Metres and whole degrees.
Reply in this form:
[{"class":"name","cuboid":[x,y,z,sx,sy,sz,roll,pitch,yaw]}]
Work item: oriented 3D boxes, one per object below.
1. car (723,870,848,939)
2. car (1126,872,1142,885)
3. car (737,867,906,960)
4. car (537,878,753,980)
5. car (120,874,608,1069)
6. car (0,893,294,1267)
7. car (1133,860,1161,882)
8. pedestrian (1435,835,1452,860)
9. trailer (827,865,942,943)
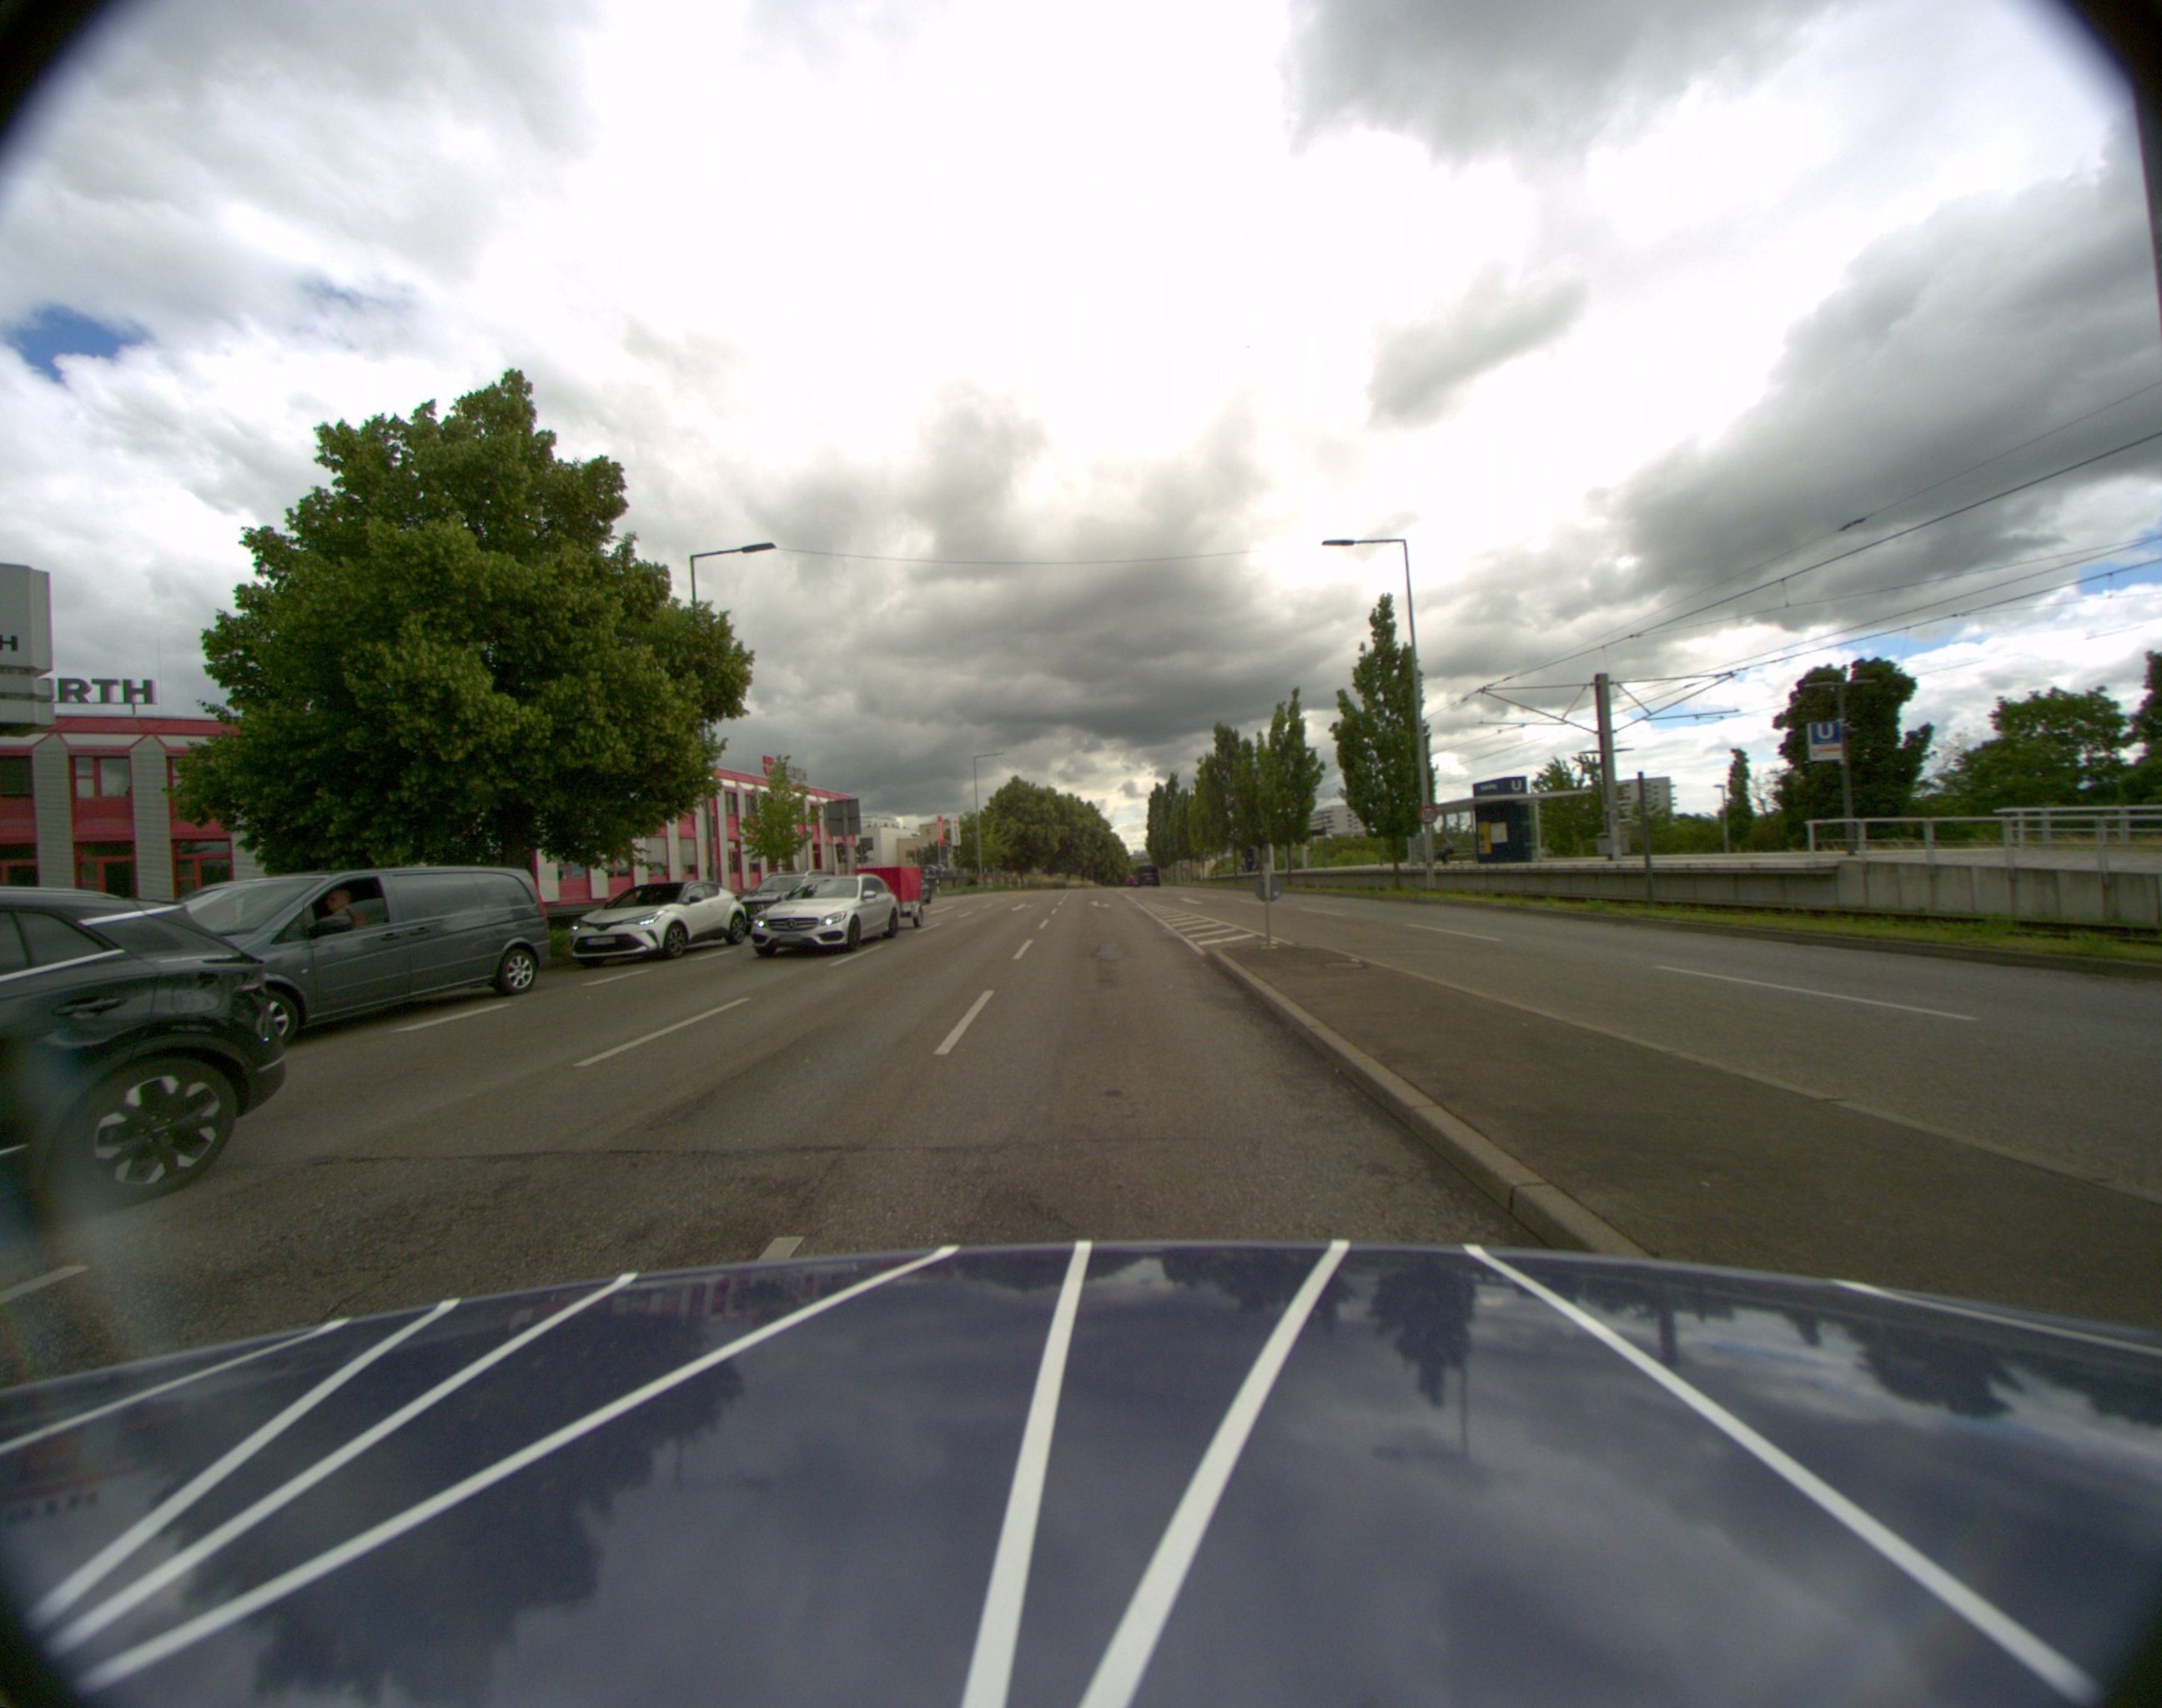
[{"class":"car","cuboid":[-8.446,1.378,22.159,1.865,1.648,4.209,-4,-1,1]},{"class":"car","cuboid":[7.028,3.222,100.988,1.740,1.499,3.660,-2,0,1]},{"class":"car","cuboid":[-5.032,1.076,15.439,1.775,1.442,4.401,-2,1,1]},{"class":"car","cuboid":[-8.595,1.387,15.486,1.844,1.507,4.106,-6,0,1]},{"class":"car","cuboid":[-8.709,1.248,10.012,1.763,1.764,4.676,-5,-1,2]},{"class":"car","cuboid":[-5.547,1.045,2.314,1.798,1.521,4.218,-2,1,1]},{"class":"car","cuboid":[5.513,1.402,63.975,1.892,1.802,5.093,-2,-1,1]},{"class":"pedestrian","cuboid":[17.532,-0.308,36.735,0.601,1.148,0.447,-2,1,1]},{"class":"trailer","cuboid":[-4.942,1.191,19.651,1.775,1.650,3.996,-2,1,1]}]
